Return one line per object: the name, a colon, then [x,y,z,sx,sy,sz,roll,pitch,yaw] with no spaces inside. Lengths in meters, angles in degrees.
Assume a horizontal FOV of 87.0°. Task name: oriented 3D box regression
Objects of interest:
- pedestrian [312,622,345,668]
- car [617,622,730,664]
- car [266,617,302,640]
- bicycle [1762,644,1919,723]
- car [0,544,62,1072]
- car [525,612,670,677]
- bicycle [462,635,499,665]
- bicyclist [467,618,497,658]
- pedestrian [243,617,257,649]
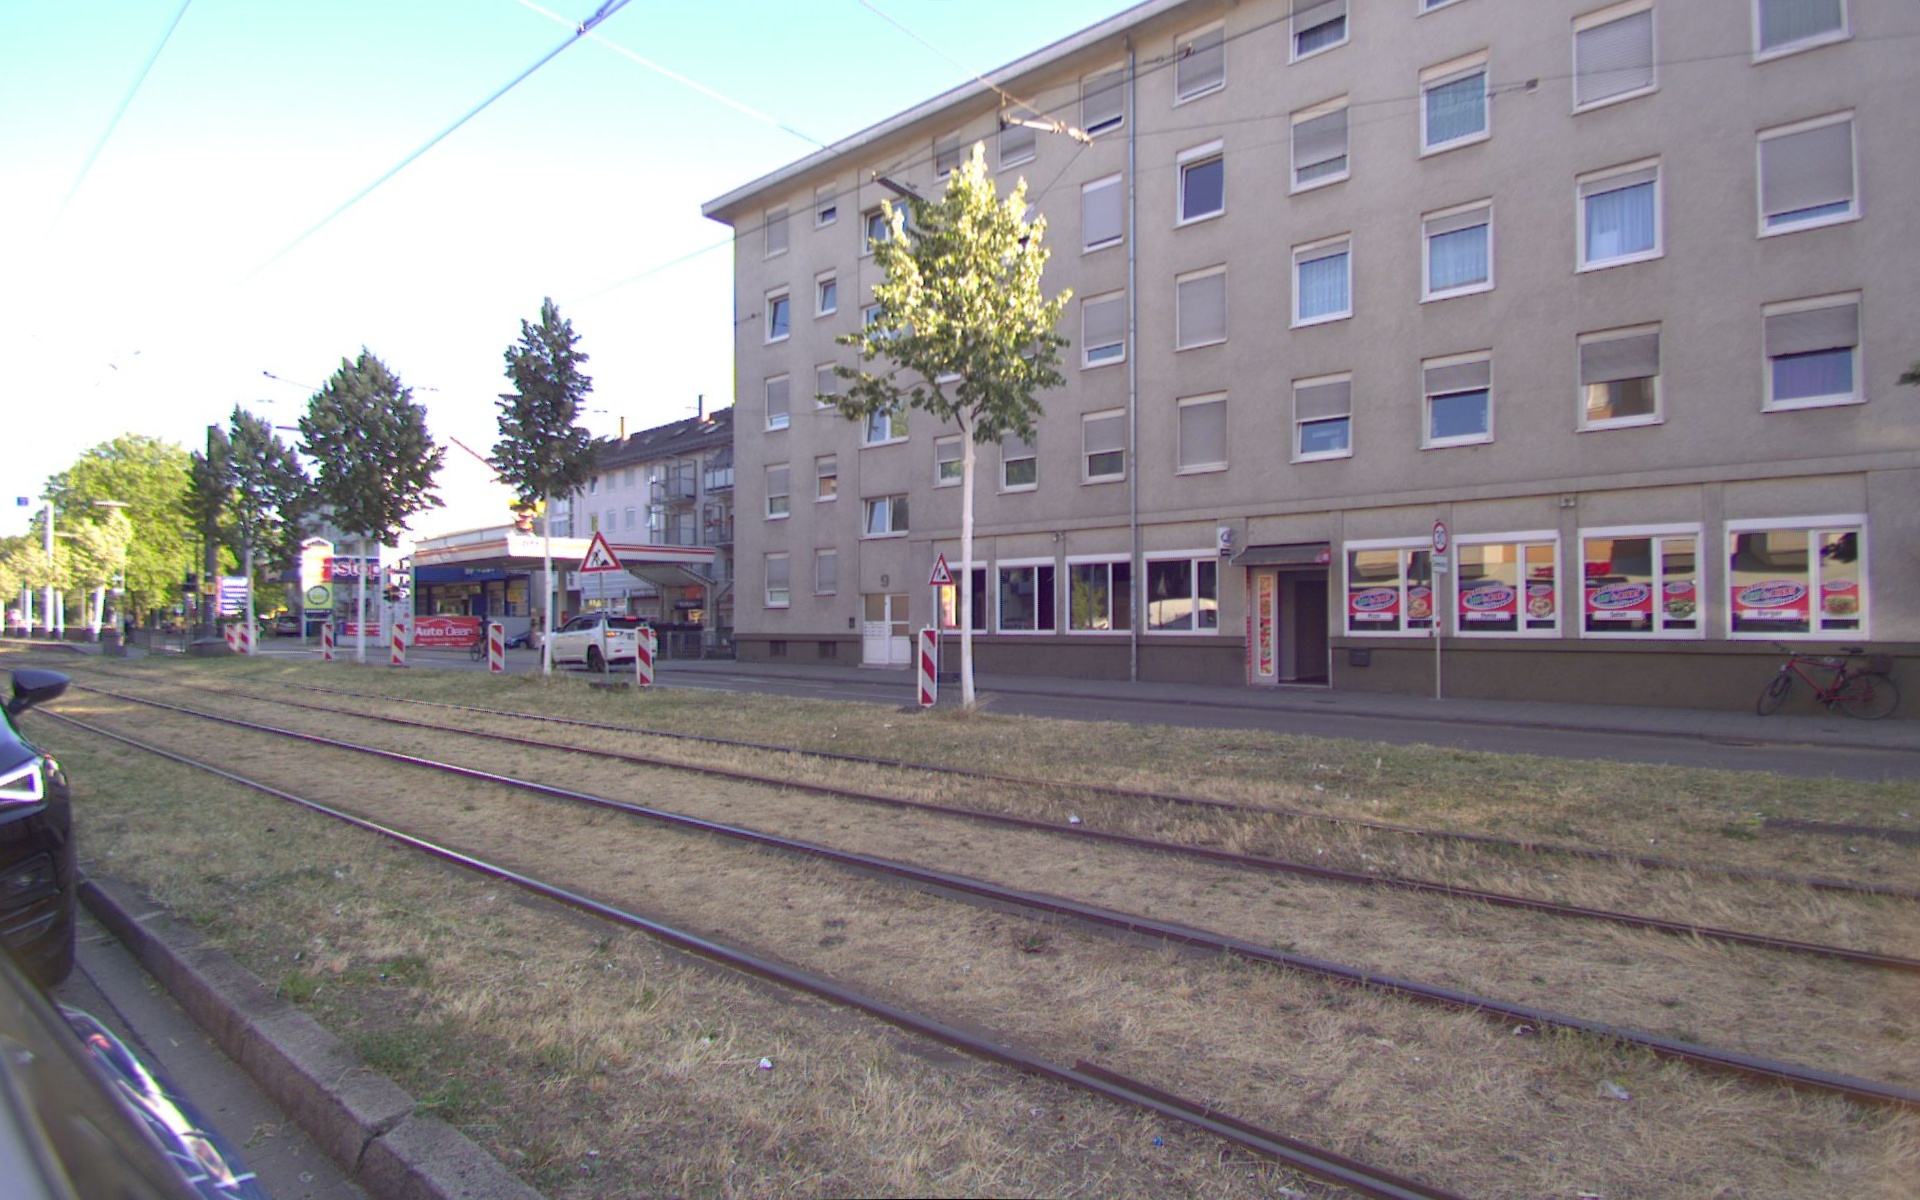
pedestrian: [-18.262,1.298,29.250,0.581,1.280,0.655,-3,-1,42]
car: [-10.745,1.611,38.104,1.906,1.481,3.680,-4,-4,40]
car: [-49.991,2.098,74.795,1.756,1.567,4.006,-1,0,-40]
bicycle: [12.840,1.190,14.695,1.844,1.031,0.601,-1,0,41]
car: [-5.053,0.702,4.016,3.998,1.690,1.752,-1,-1,41]
car: [-10.598,1.290,29.458,4.389,1.748,1.974,-1,-4,39]
bicycle: [-17.555,1.815,37.051,1.859,1.052,0.441,-1,-2,39]
bicyclist: [-17.435,1.379,36.939,0.649,1.457,0.770,-2,-2,39]
pedestrian: [-45.843,2.117,65.358,0.583,2.029,0.623,-2,-2,42]
